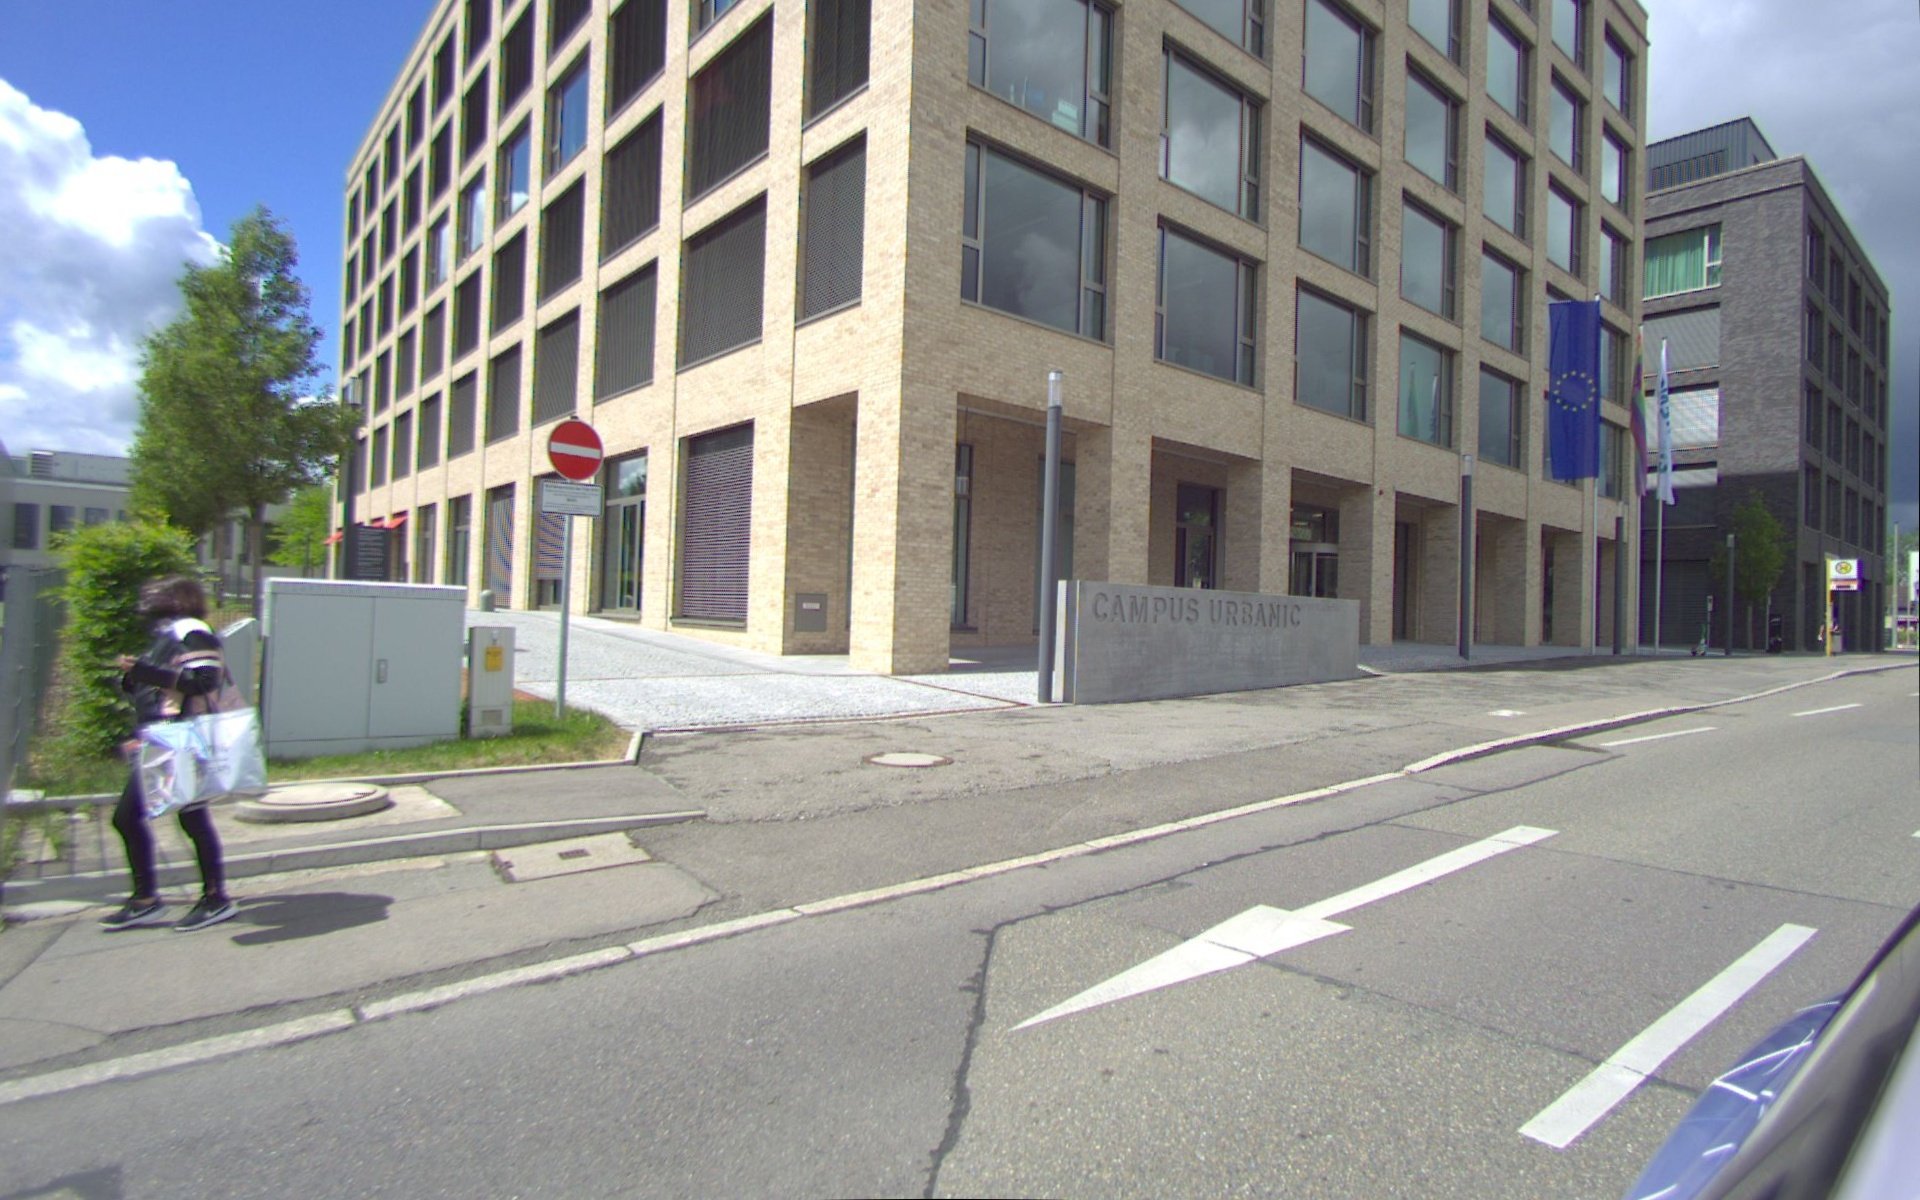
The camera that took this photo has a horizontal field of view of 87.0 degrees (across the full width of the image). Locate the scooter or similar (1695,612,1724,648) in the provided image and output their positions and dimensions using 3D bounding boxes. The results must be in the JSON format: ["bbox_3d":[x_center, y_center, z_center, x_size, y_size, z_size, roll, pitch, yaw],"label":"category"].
[{"bbox_3d":[24.592,0.979,33.200,1.378,1.167,0.428,2,0,-40],"label":"scooter or similar"}]

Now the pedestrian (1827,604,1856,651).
[{"bbox_3d":[33.465,1.038,38.423,0.945,1.750,0.684,3,-2,-40],"label":"pedestrian"}]

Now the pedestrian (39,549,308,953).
[{"bbox_3d":[-3.422,0.578,4.432,0.841,1.555,0.689,2,0,-40],"label":"pedestrian"}]
